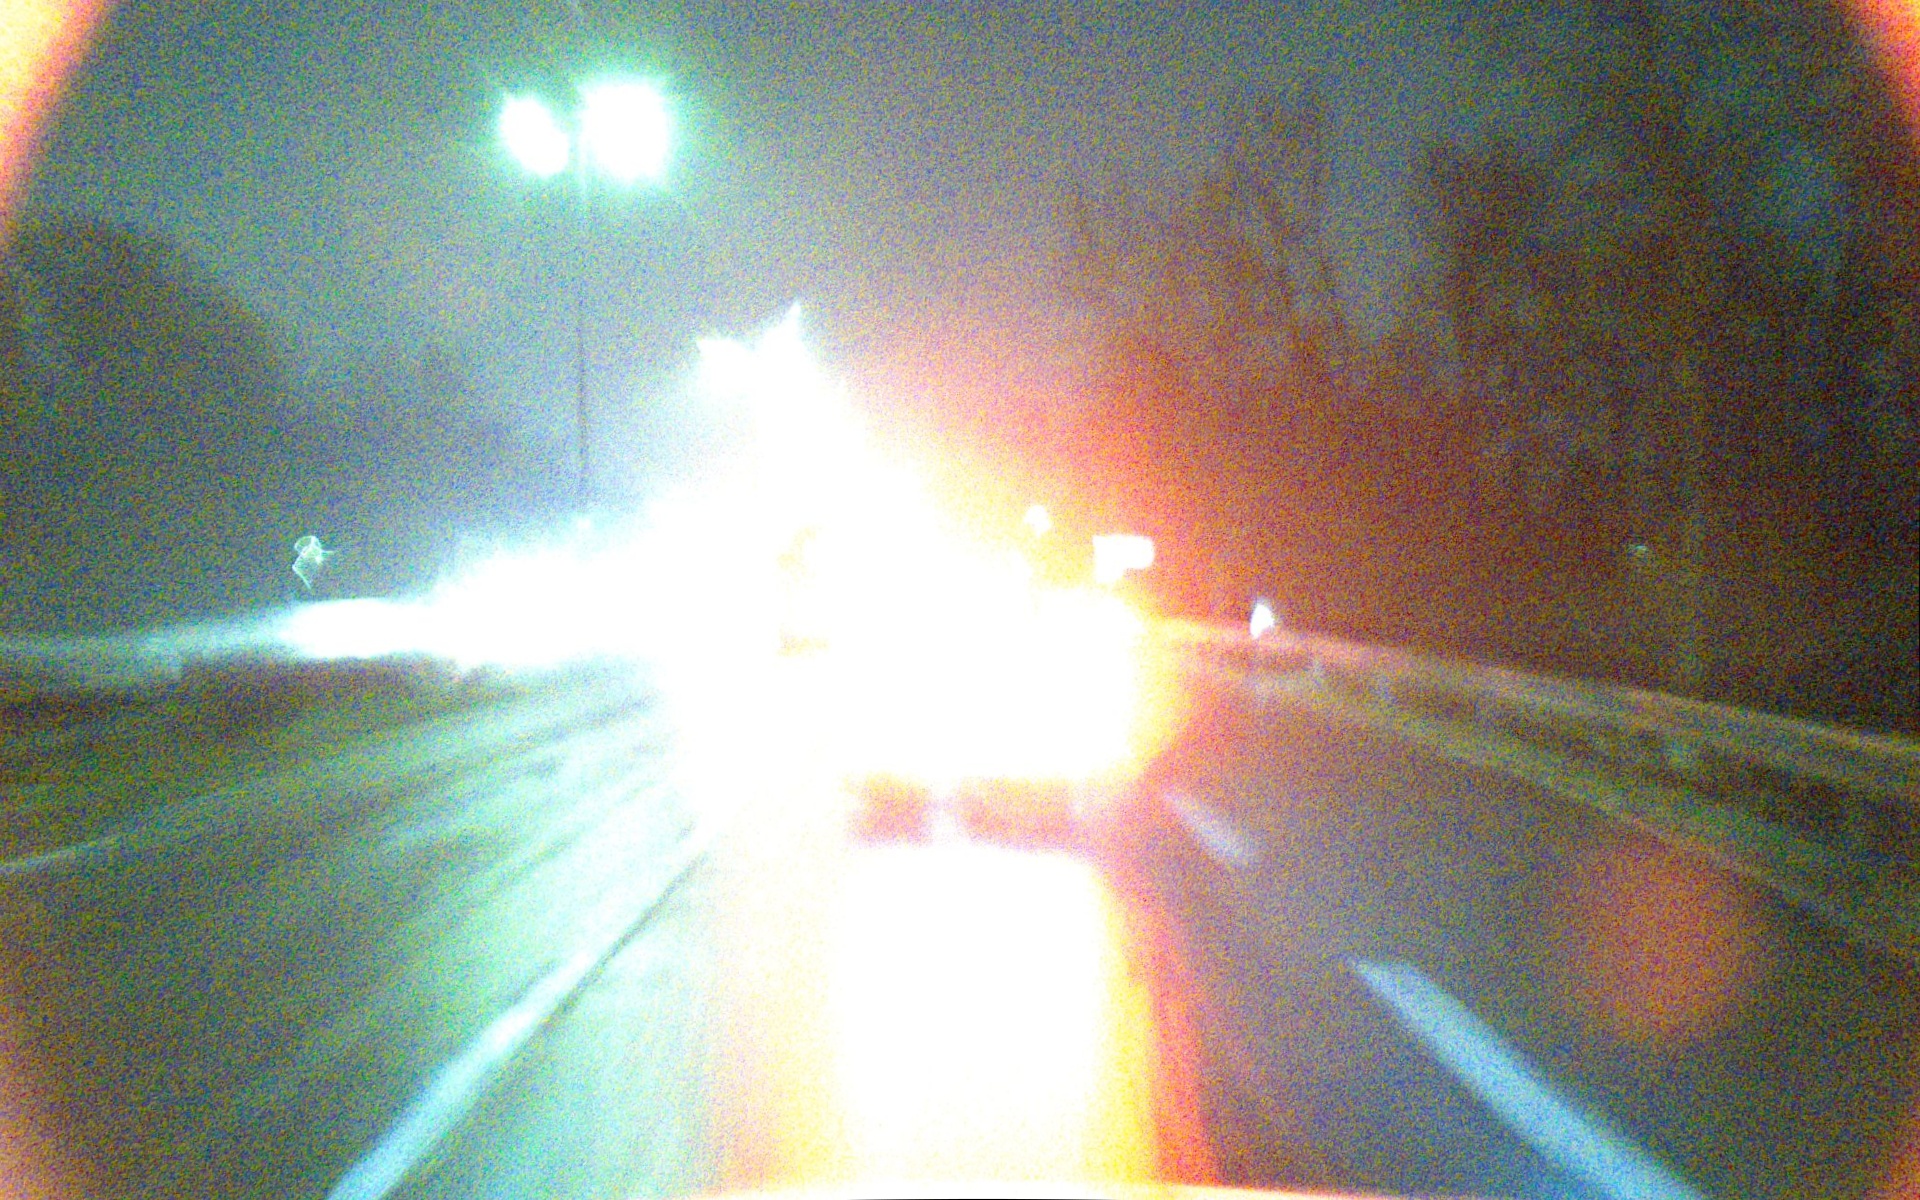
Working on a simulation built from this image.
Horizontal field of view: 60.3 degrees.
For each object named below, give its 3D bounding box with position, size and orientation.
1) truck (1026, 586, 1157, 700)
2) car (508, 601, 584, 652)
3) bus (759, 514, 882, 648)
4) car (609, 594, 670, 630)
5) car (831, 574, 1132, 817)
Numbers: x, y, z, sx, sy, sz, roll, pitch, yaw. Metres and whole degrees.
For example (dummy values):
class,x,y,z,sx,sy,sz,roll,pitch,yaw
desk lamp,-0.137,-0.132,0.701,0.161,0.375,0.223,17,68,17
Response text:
class,x,y,z,sx,sy,sz,roll,pitch,yaw
truck,3.420,1.100,42.899,3.005,2.573,7.170,2,-1,5
car,-13.812,0.887,55.358,1.567,1.579,3.833,2,-1,-1
bus,-3.632,-0.486,45.214,2.688,3.178,9.198,2,0,-1
car,-15.142,0.593,78.283,1.982,1.528,4.895,2,-1,-1
car,0.202,0.624,12.445,1.904,1.517,3.717,1,0,2
